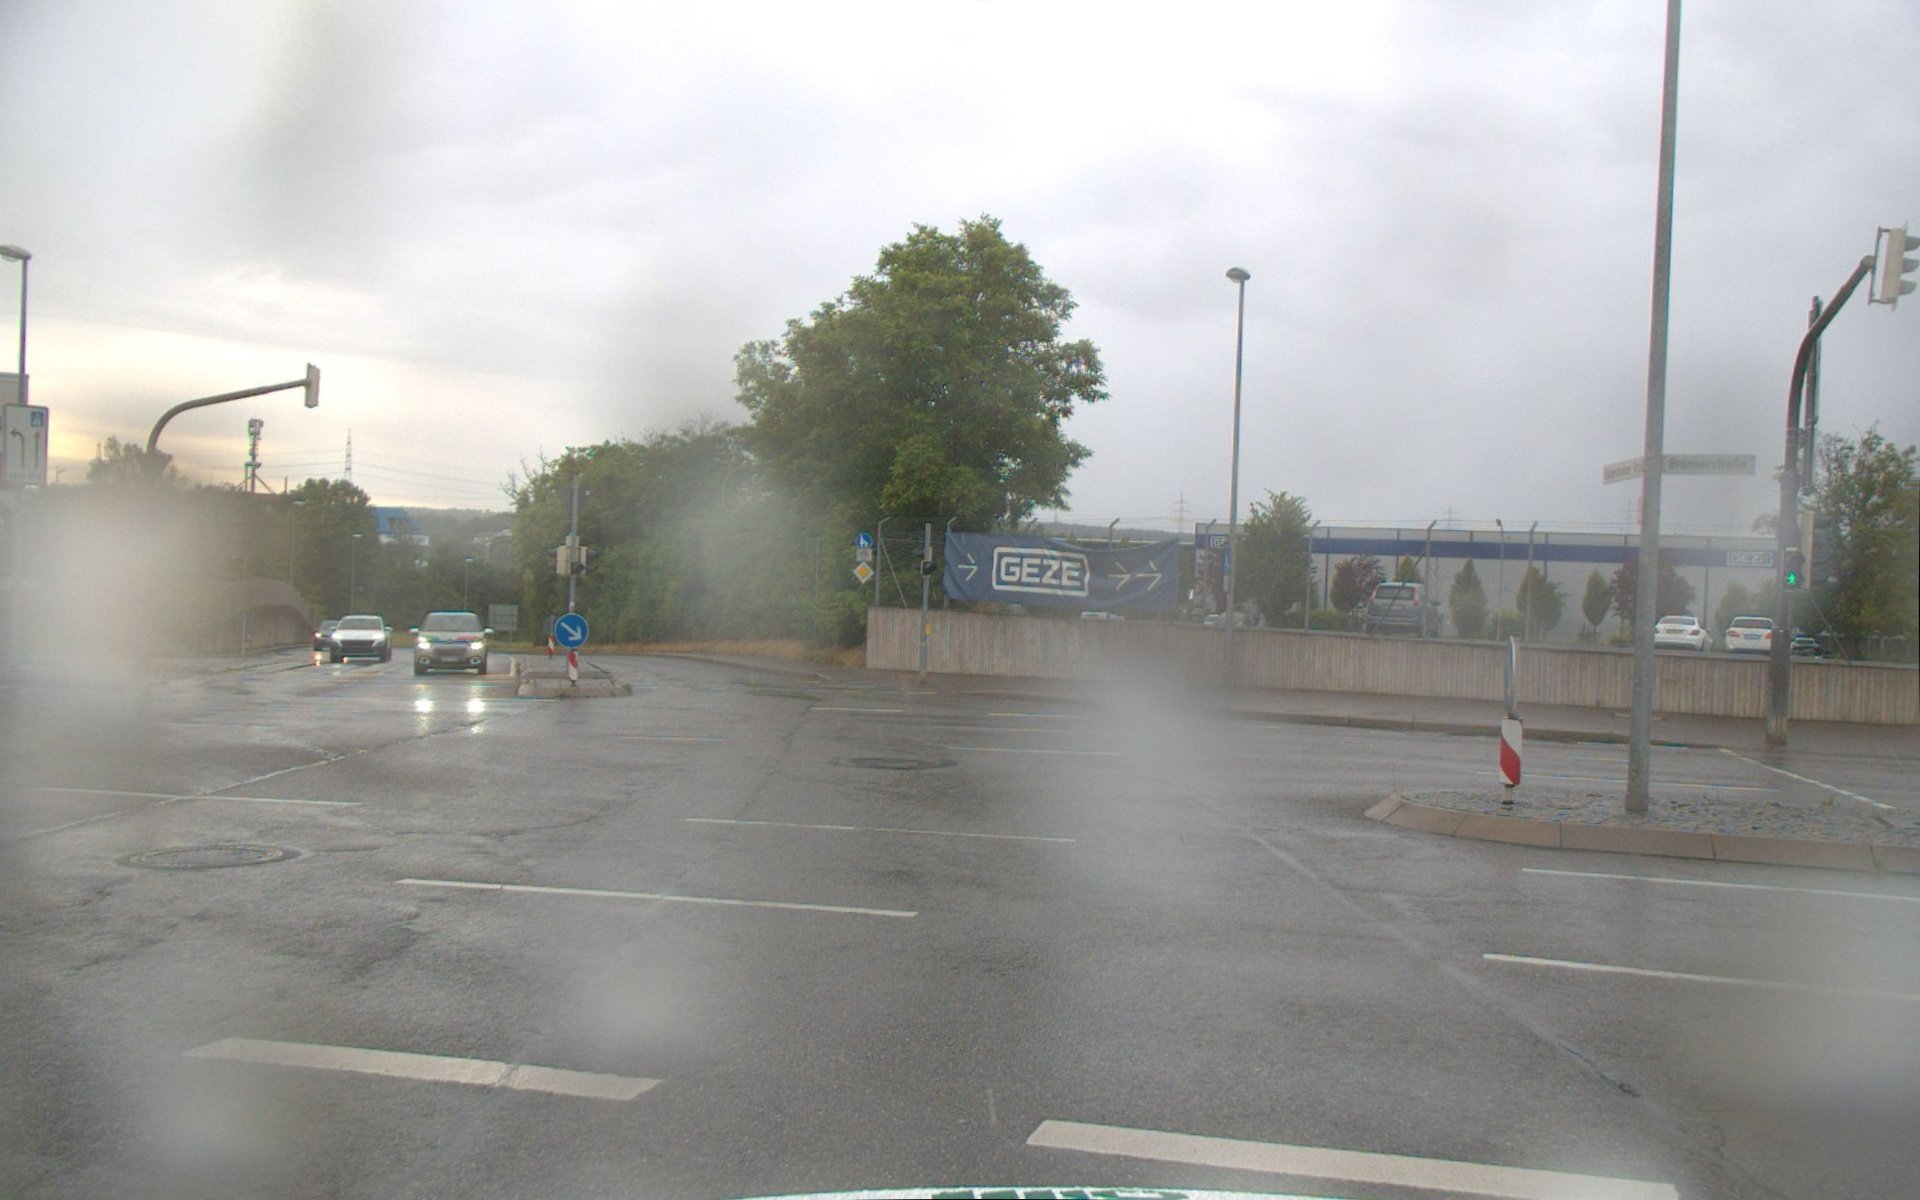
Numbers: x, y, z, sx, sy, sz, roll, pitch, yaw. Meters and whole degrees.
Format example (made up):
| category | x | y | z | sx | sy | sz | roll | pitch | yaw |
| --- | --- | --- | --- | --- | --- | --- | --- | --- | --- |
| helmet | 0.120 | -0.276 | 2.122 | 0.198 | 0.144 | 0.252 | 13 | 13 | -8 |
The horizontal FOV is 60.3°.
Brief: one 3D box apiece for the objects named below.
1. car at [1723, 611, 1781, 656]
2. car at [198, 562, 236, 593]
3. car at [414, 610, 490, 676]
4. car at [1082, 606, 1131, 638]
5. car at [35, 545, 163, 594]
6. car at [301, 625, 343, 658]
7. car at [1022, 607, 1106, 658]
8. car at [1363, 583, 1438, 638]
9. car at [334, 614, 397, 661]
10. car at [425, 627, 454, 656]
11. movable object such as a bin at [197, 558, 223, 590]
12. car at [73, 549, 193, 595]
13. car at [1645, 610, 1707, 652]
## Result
| category | x | y | z | sx | sy | sz | roll | pitch | yaw |
| --- | --- | --- | --- | --- | --- | --- | --- | --- | --- |
| car | 28.630 | 1.218 | 59.848 | 1.821 | 1.553 | 4.100 | 1 | -1 | 25 |
| car | -40.992 | -1.218 | 91.221 | 1.803 | 1.467 | 3.969 | 3 | -3 | -24 |
| car | -12.522 | 1.051 | 40.898 | 1.634 | 1.521 | 3.983 | 2 | -1 | -15 |
| car | 7.876 | 1.207 | 88.762 | 1.633 | 1.634 | 3.529 | 1 | -1 | 23 |
| car | -32.575 | -1.141 | 62.615 | 3.902 | 1.614 | 1.903 | 2 | -3 | 11 |
| car | -31.991 | 2.073 | 83.034 | 1.871 | 1.481 | 3.975 | 2 | 0 | -21 |
| car | 3.501 | 1.089 | 55.120 | 1.707 | 1.597 | 3.529 | 1 | -1 | 23 |
| car | 13.362 | 0.340 | 50.091 | 1.707 | 1.580 | 3.529 | 1 | -1 | 23 |
| car | -20.314 | 1.260 | 56.612 | 1.692 | 1.521 | 3.983 | 2 | -1 | -15 |
| car | -39.686 | 3.155 | 126.075 | 1.963 | 2.049 | 3.978 | 2 | 0 | -19 |
| movable object such as a bin | -36.818 | -1.266 | 81.195 | 1.069 | 1.462 | 1.435 | 3 | -3 | -24 |
| car | -32.620 | -1.101 | 65.265 | 3.902 | 1.614 | 1.903 | 1 | -3 | 15 |
| car | 26.246 | 1.129 | 60.562 | 1.782 | 1.459 | 4.097 | 1 | -1 | 28 |
